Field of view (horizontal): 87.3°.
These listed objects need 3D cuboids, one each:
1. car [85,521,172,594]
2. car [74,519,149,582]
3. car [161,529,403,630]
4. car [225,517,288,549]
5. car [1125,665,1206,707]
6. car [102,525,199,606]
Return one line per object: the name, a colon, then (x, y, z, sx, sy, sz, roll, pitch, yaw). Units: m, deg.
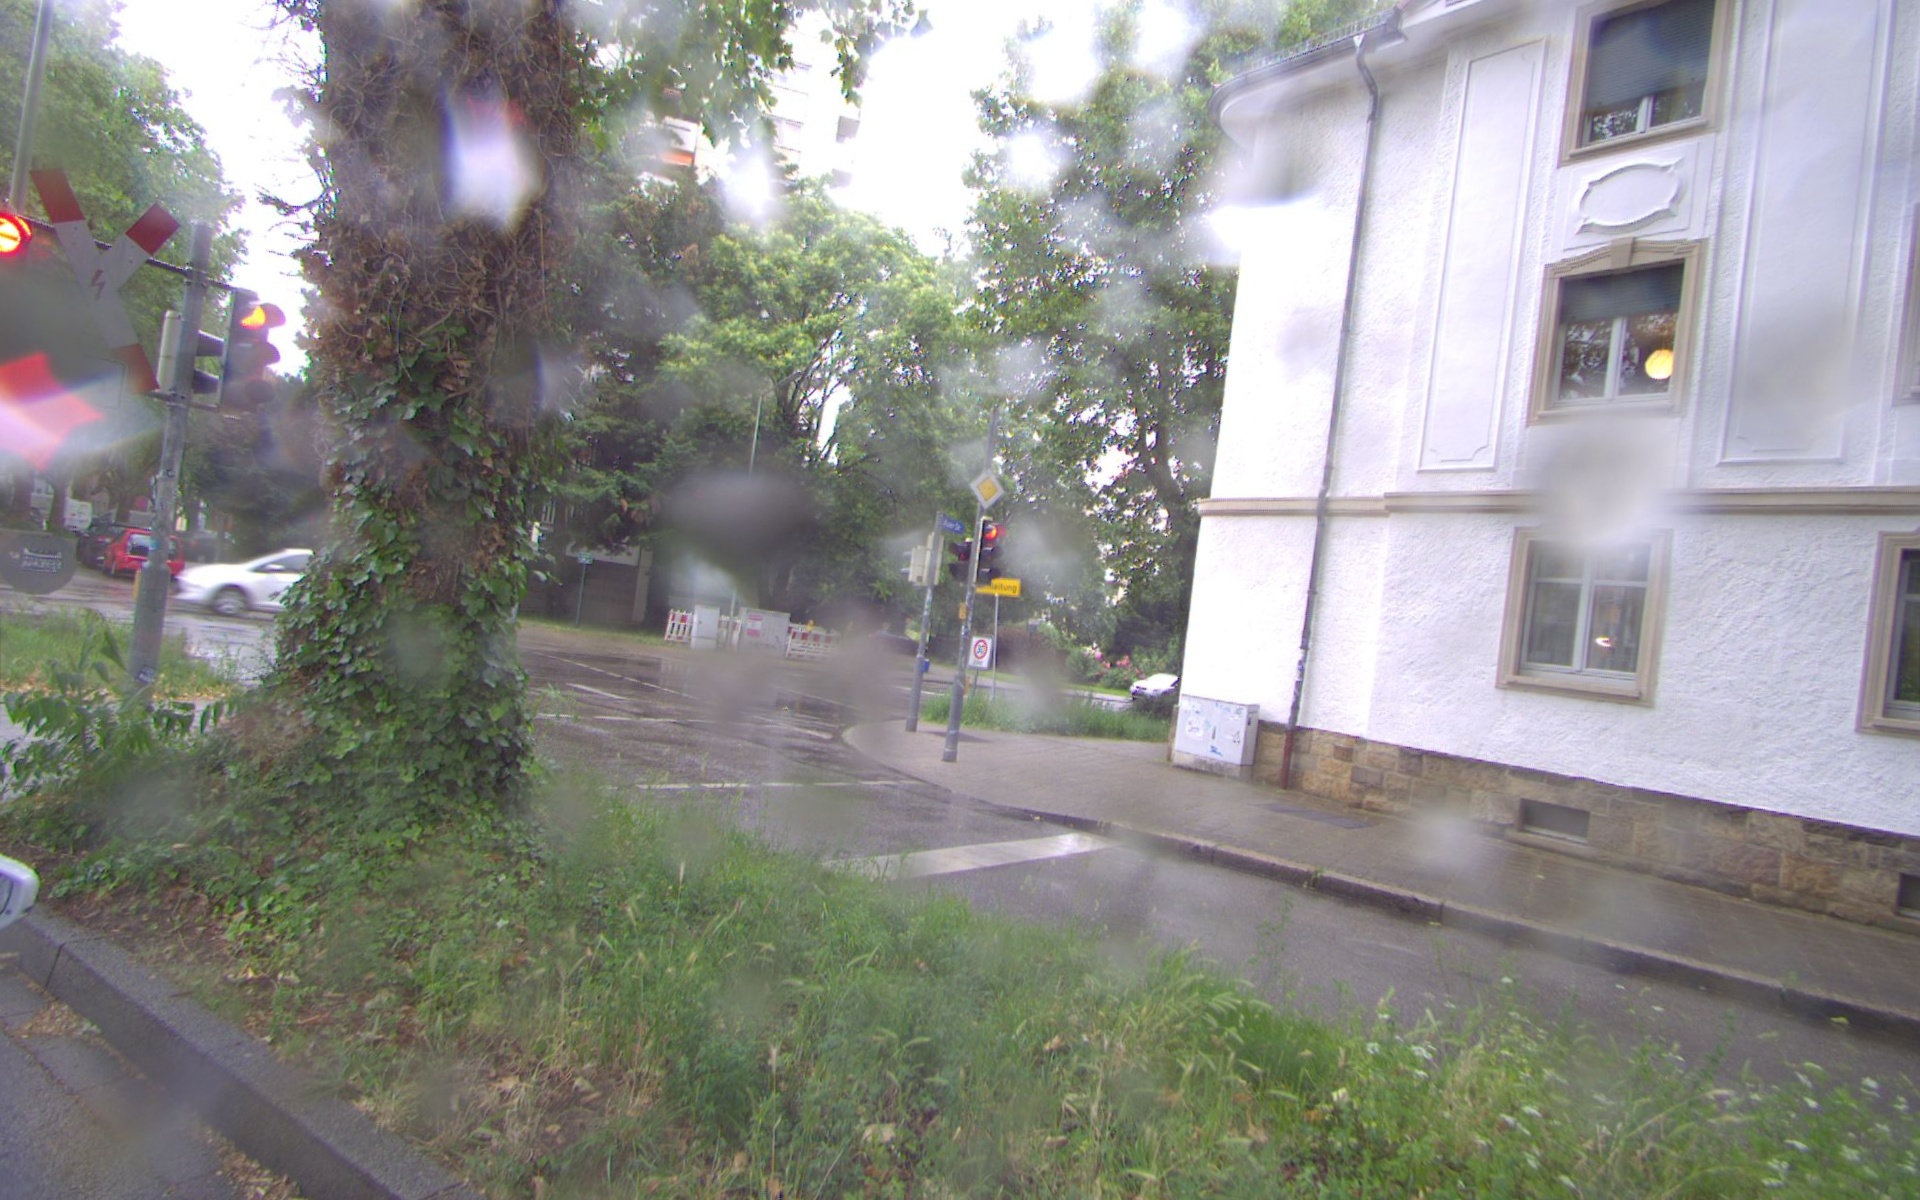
car: (-27.995, -1.452, 33.826, 1.986, 2.038, 3.953, 7, 0, -42)
car: (-32.905, -1.932, 38.967, 1.986, 2.038, 3.953, 7, 0, -42)
car: (-13.384, -0.364, 19.992, 1.702, 1.504, 3.633, 7, 0, 44)
car: (-57.186, -5.456, 81.821, 3.969, 2.038, 1.689, 7, 0, -39)
car: (9.353, 3.919, 45.608, 3.630, 1.504, 1.704, 8, 0, -43)
car: (-24.806, -1.082, 30.770, 1.986, 2.038, 3.953, 7, 0, -42)
